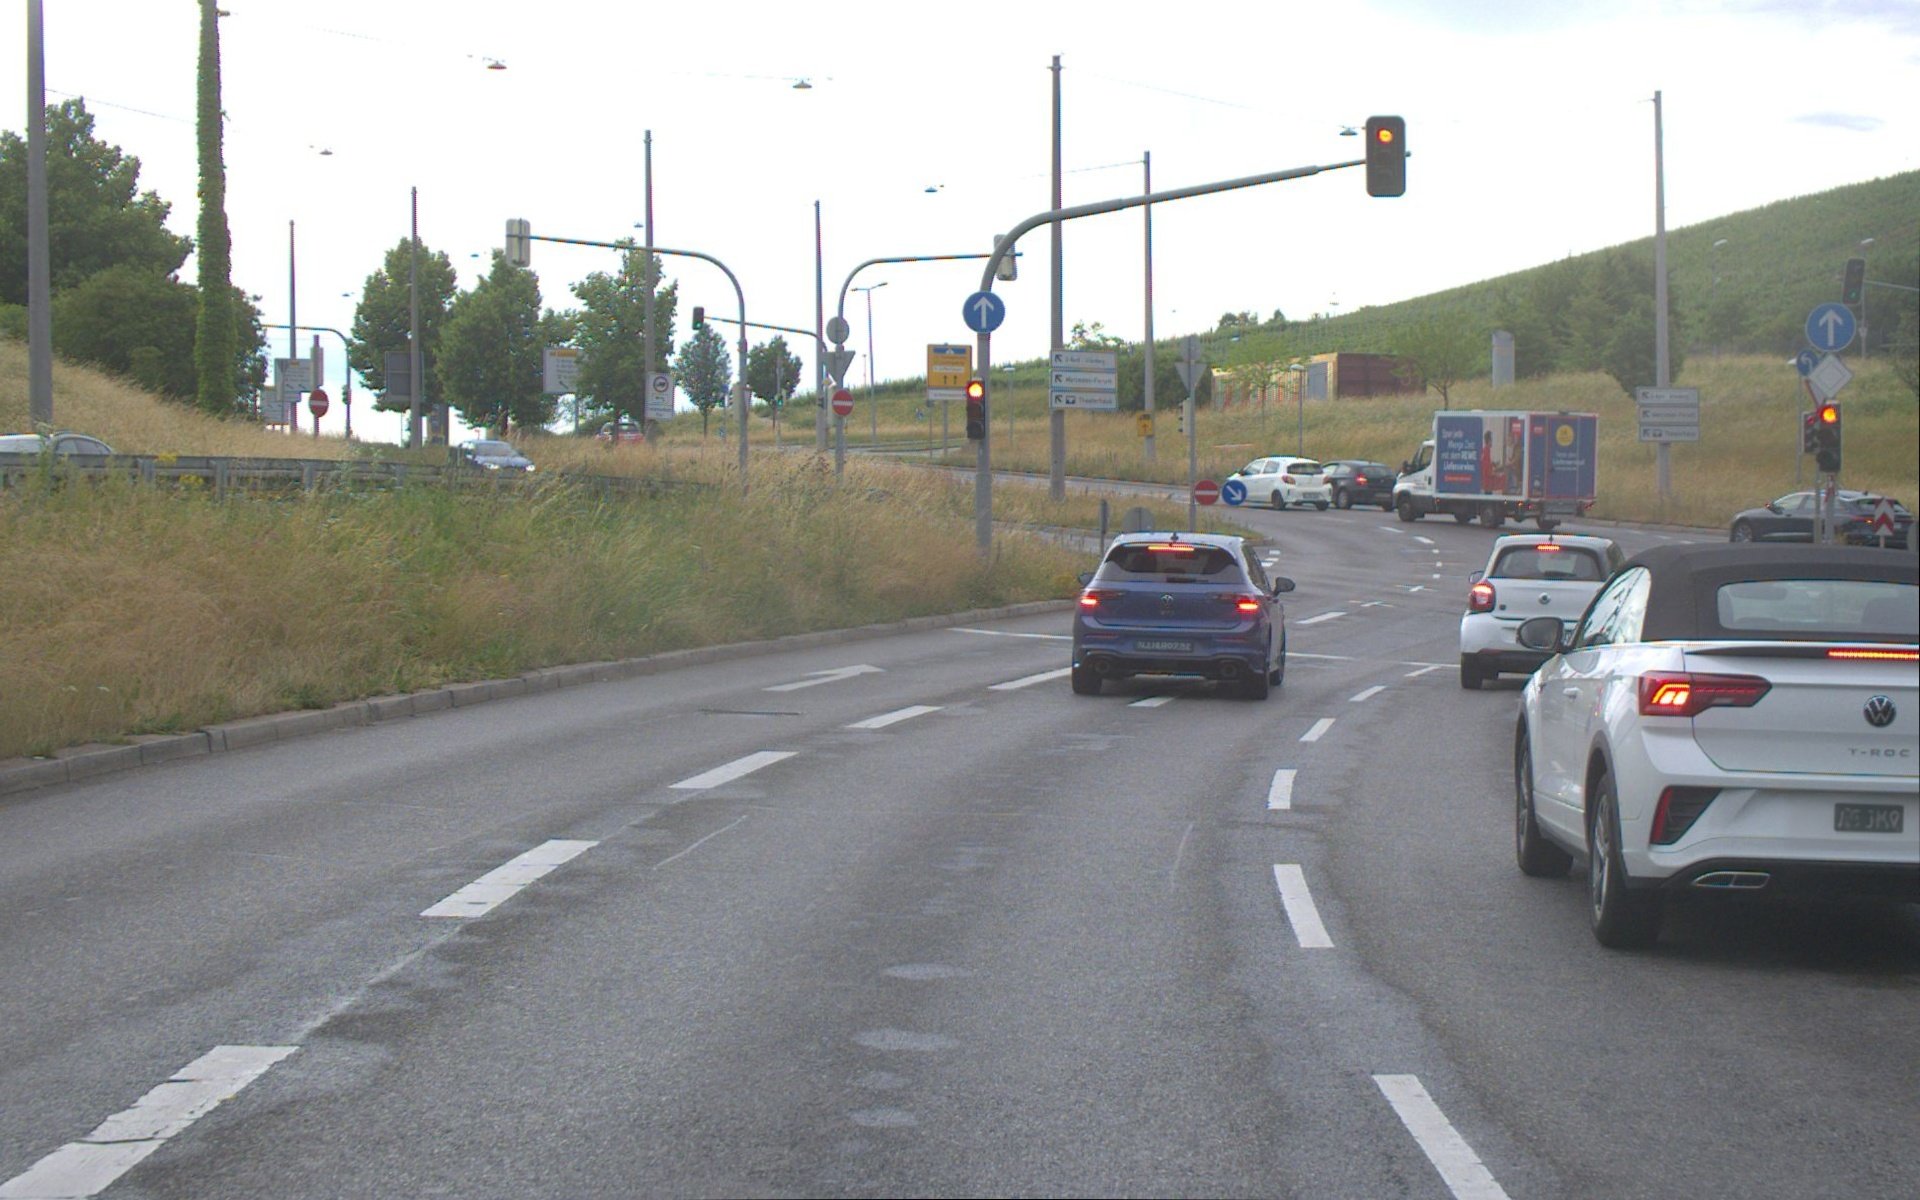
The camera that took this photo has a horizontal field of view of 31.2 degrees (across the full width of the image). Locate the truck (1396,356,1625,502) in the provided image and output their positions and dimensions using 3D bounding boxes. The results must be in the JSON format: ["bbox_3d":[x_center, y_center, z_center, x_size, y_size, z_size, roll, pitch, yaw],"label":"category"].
[{"bbox_3d":[13.986,-4.431,87.883,2.848,3.514,6.237,-3,5,-24],"label":"truck"}]

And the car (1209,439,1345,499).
[{"bbox_3d":[9.053,-3.783,98.453,1.993,1.495,4.565,-2,5,-22],"label":"car"}]

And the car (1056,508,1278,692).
[{"bbox_3d":[1.906,-0.032,31.888,1.926,1.594,4.061,0,1,3],"label":"car"}]

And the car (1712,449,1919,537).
[{"bbox_3d":[18.998,-2.391,75.817,1.994,1.705,4.563,-4,6,-36],"label":"car"}]

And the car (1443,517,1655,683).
[{"bbox_3d":[6.021,-0.046,34.856,1.776,1.513,3.722,2,2,14],"label":"car"}]

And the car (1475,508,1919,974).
[{"bbox_3d":[3.383,0.454,14.060,1.996,1.573,4.126,2,2,2],"label":"car"}]

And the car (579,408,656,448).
[{"bbox_3d":[-15.456,-7.743,155.080,1.993,1.706,4.564,-3,3,-25],"label":"car"}]

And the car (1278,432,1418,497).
[{"bbox_3d":[11.403,-4.009,101.317,1.993,1.705,4.565,-3,5,-25],"label":"car"}]
